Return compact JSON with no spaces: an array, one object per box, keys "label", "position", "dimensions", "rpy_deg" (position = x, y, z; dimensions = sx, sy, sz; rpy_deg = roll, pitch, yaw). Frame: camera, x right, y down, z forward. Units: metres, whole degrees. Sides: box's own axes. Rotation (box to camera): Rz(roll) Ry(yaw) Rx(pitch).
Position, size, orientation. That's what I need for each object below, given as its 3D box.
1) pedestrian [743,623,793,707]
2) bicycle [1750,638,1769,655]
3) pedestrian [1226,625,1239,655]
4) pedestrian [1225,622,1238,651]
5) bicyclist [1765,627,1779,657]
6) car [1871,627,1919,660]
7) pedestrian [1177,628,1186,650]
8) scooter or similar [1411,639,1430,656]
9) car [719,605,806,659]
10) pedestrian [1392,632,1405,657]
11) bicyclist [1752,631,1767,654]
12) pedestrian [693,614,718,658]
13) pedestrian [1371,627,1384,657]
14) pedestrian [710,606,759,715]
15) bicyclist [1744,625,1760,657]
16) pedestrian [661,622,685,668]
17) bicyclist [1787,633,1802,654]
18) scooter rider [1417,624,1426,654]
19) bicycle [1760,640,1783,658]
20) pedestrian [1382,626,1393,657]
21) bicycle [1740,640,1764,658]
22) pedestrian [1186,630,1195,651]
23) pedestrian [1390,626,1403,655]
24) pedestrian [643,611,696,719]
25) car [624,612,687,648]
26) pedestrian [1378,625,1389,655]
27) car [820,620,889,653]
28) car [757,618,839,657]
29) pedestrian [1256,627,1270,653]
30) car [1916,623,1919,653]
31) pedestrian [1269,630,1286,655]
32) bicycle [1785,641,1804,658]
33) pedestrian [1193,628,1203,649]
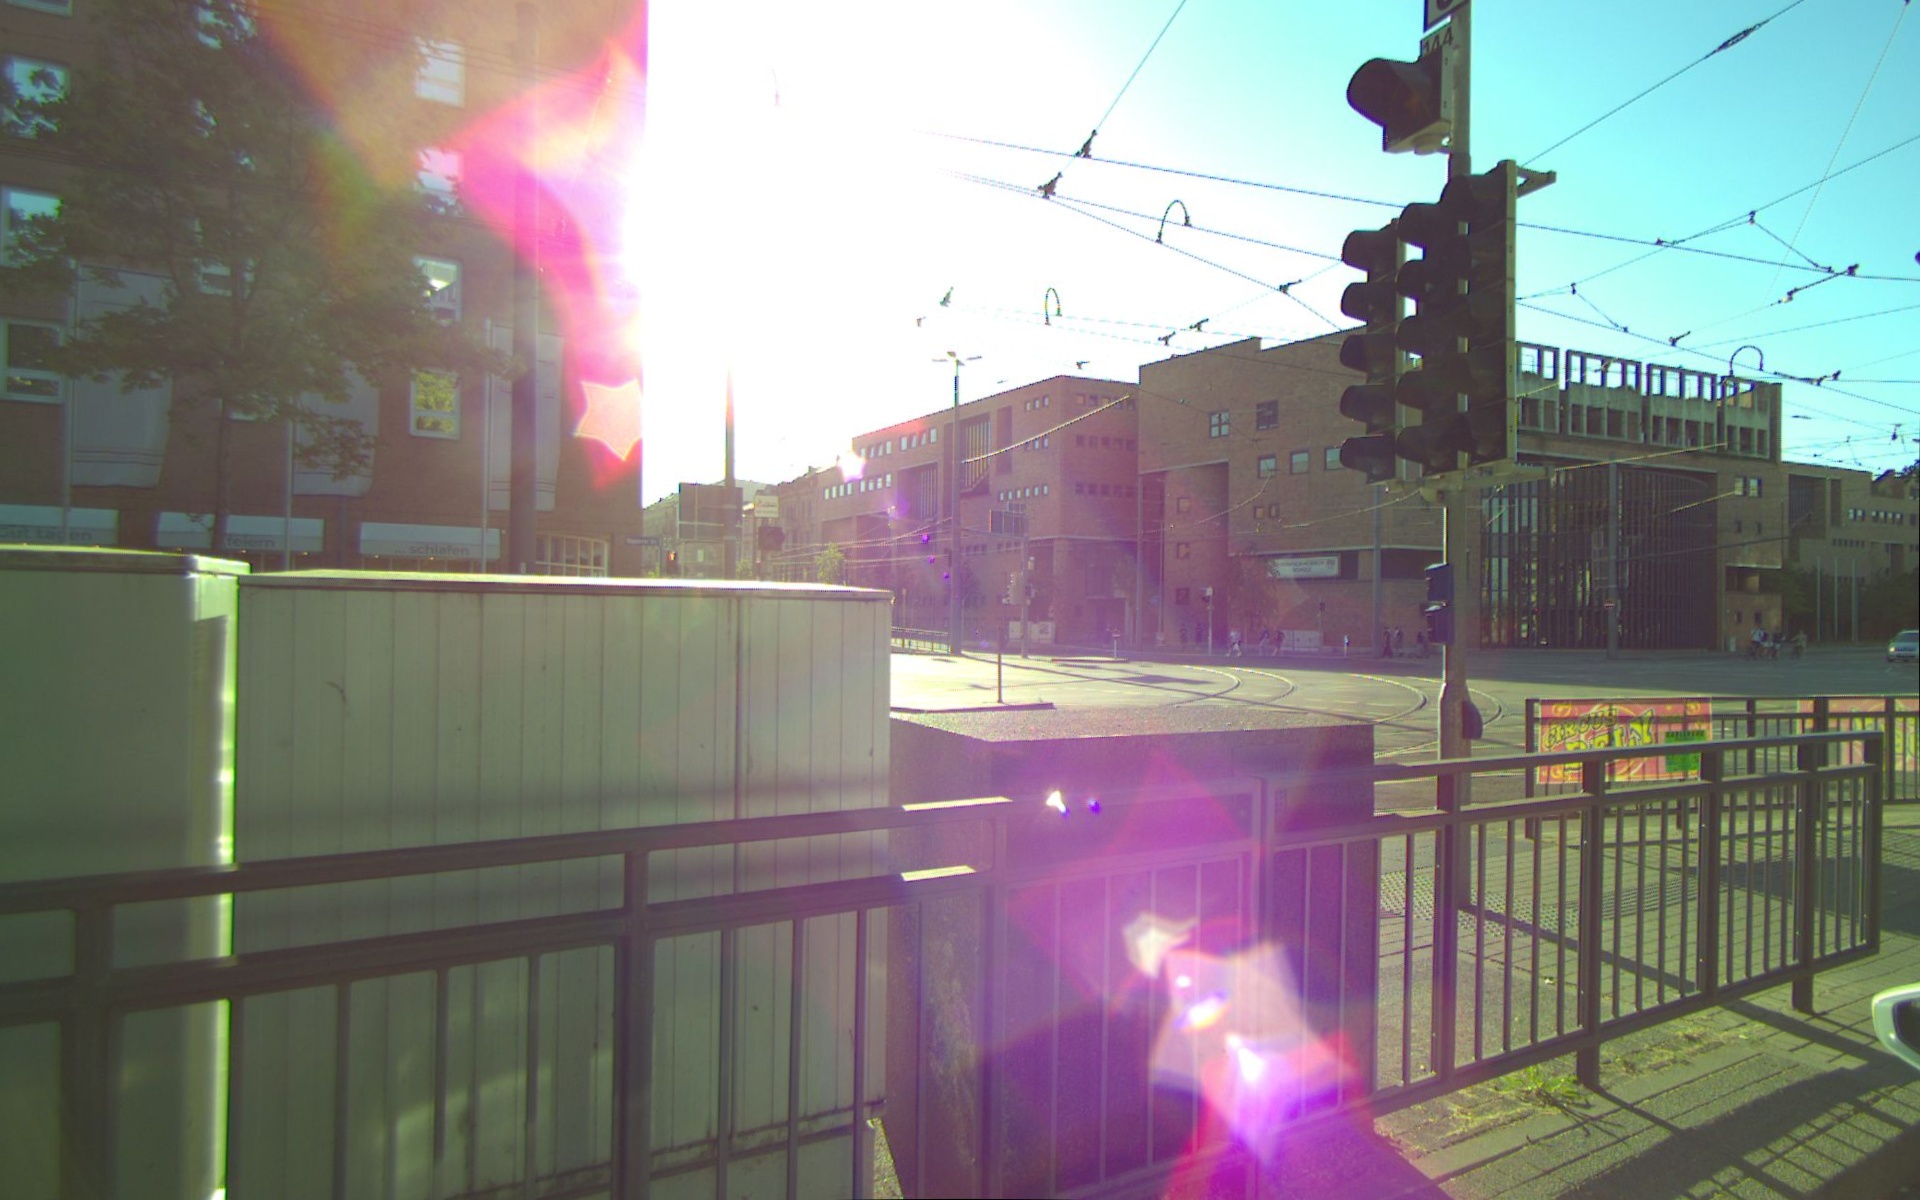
[{"label":"pedestrian","position":[-3.906,1.301,20.420],"dimensions":[0.709,1.669,0.953],"rpy_deg":[1,-1,-30]},{"label":"bicycle","position":[46.682,2.727,58.652],"dimensions":[1.304,0.976,0.465],"rpy_deg":[1,-1,-30]},{"label":"pedestrian","position":[15.102,2.204,55.704],"dimensions":[0.538,1.670,0.601],"rpy_deg":[0,-1,-1]},{"label":"pedestrian","position":[15.361,2.044,56.798],"dimensions":[0.577,1.635,0.598],"rpy_deg":[0,-1,3]},{"label":"bicyclist","position":[45.017,2.332,55.692],"dimensions":[0.574,1.624,0.456],"rpy_deg":[1,-1,-30]},{"label":"car","position":[48.982,2.223,51.779],"dimensions":[3.954,1.661,1.983],"rpy_deg":[1,-2,-31]},{"label":"pedestrian","position":[15.169,2.649,68.825],"dimensions":[0.523,1.482,0.591],"rpy_deg":[0,-1,3]},{"label":"scooter or similar","position":[25.377,2.636,55.374],"dimensions":[0.931,0.911,0.176],"rpy_deg":[0,-1,14]},{"label":"car","position":[-9.474,1.513,47.975],"dimensions":[1.982,2.419,5.156],"rpy_deg":[1,-2,-38]},{"label":"pedestrian","position":[25.118,2.549,57.546],"dimensions":[0.590,1.440,0.640],"rpy_deg":[0,-1,34]},{"label":"bicyclist","position":[46.659,2.481,58.651],"dimensions":[0.574,1.321,0.503],"rpy_deg":[1,-1,-30]},{"label":"pedestrian","position":[-12.046,1.713,47.531],"dimensions":[0.856,2.040,0.880],"rpy_deg":[2,0,-39]},{"label":"pedestrian","position":[24.052,2.401,57.896],"dimensions":[0.611,1.706,0.650],"rpy_deg":[0,-1,28]},{"label":"pedestrian","position":[-3.991,1.057,17.769],"dimensions":[0.647,1.864,0.835],"rpy_deg":[1,-1,-28]},{"label":"bicyclist","position":[44.505,2.307,56.428],"dimensions":[0.574,1.754,0.534],"rpy_deg":[1,-1,-30]},{"label":"pedestrian","position":[-10.457,1.632,36.595],"dimensions":[0.658,1.669,0.638],"rpy_deg":[1,-1,-34]},{"label":"bicyclist","position":[49.385,2.569,59.437],"dimensions":[0.574,1.194,0.503],"rpy_deg":[1,-1,-30]},{"label":"scooter rider","position":[25.429,2.159,55.386],"dimensions":[0.429,1.669,0.229],"rpy_deg":[0,-1,15]},{"label":"bicycle","position":[45.002,2.731,55.676],"dimensions":[1.557,0.976,0.470],"rpy_deg":[1,-1,-30]},{"label":"pedestrian","position":[24.117,2.342,56.619],"dimensions":[0.540,1.706,0.591],"rpy_deg":[0,-1,26]},{"label":"bicycle","position":[44.498,2.757,56.429],"dimensions":[1.568,0.976,0.539],"rpy_deg":[1,-1,-30]},{"label":"pedestrian","position":[15.784,2.758,68.766],"dimensions":[0.562,1.428,0.554],"rpy_deg":[0,-1,4]},{"label":"pedestrian","position":[25.371,2.344,58.415],"dimensions":[0.608,1.647,0.611],"rpy_deg":[0,-1,34]},{"label":"pedestrian","position":[-5.094,1.123,17.620],"dimensions":[0.713,1.837,0.904],"rpy_deg":[1,-1,-28]},{"label":"car","position":[-18.516,1.791,60.906],"dimensions":[1.982,2.122,5.156],"rpy_deg":[1,-2,-38]},{"label":"pedestrian","position":[24.625,2.306,58.371],"dimensions":[0.540,1.706,0.572],"rpy_deg":[0,-1,31]},{"label":"car","position":[-5.661,1.948,53.539],"dimensions":[1.980,1.572,3.961],"rpy_deg":[2,0,-35]},{"label":"car","position":[-8.405,1.905,51.782],"dimensions":[1.982,1.928,5.156],"rpy_deg":[1,-2,-38]},{"label":"pedestrian","position":[17.226,2.251,57.111],"dimensions":[0.602,1.473,0.570],"rpy_deg":[0,-1,-1]},{"label":"car","position":[55.251,2.110,55.893],"dimensions":[3.954,1.661,1.983],"rpy_deg":[1,-2,-31]},{"label":"pedestrian","position":[17.465,2.345,55.236],"dimensions":[0.671,1.357,0.601],"rpy_deg":[1,-1,-21]},{"label":"bicycle","position":[49.354,2.927,59.421],"dimensions":[1.332,0.976,0.449],"rpy_deg":[1,-1,-30]},{"label":"pedestrian","position":[16.266,2.621,68.645],"dimensions":[0.549,1.445,0.556],"rpy_deg":[0,-1,1]}]
